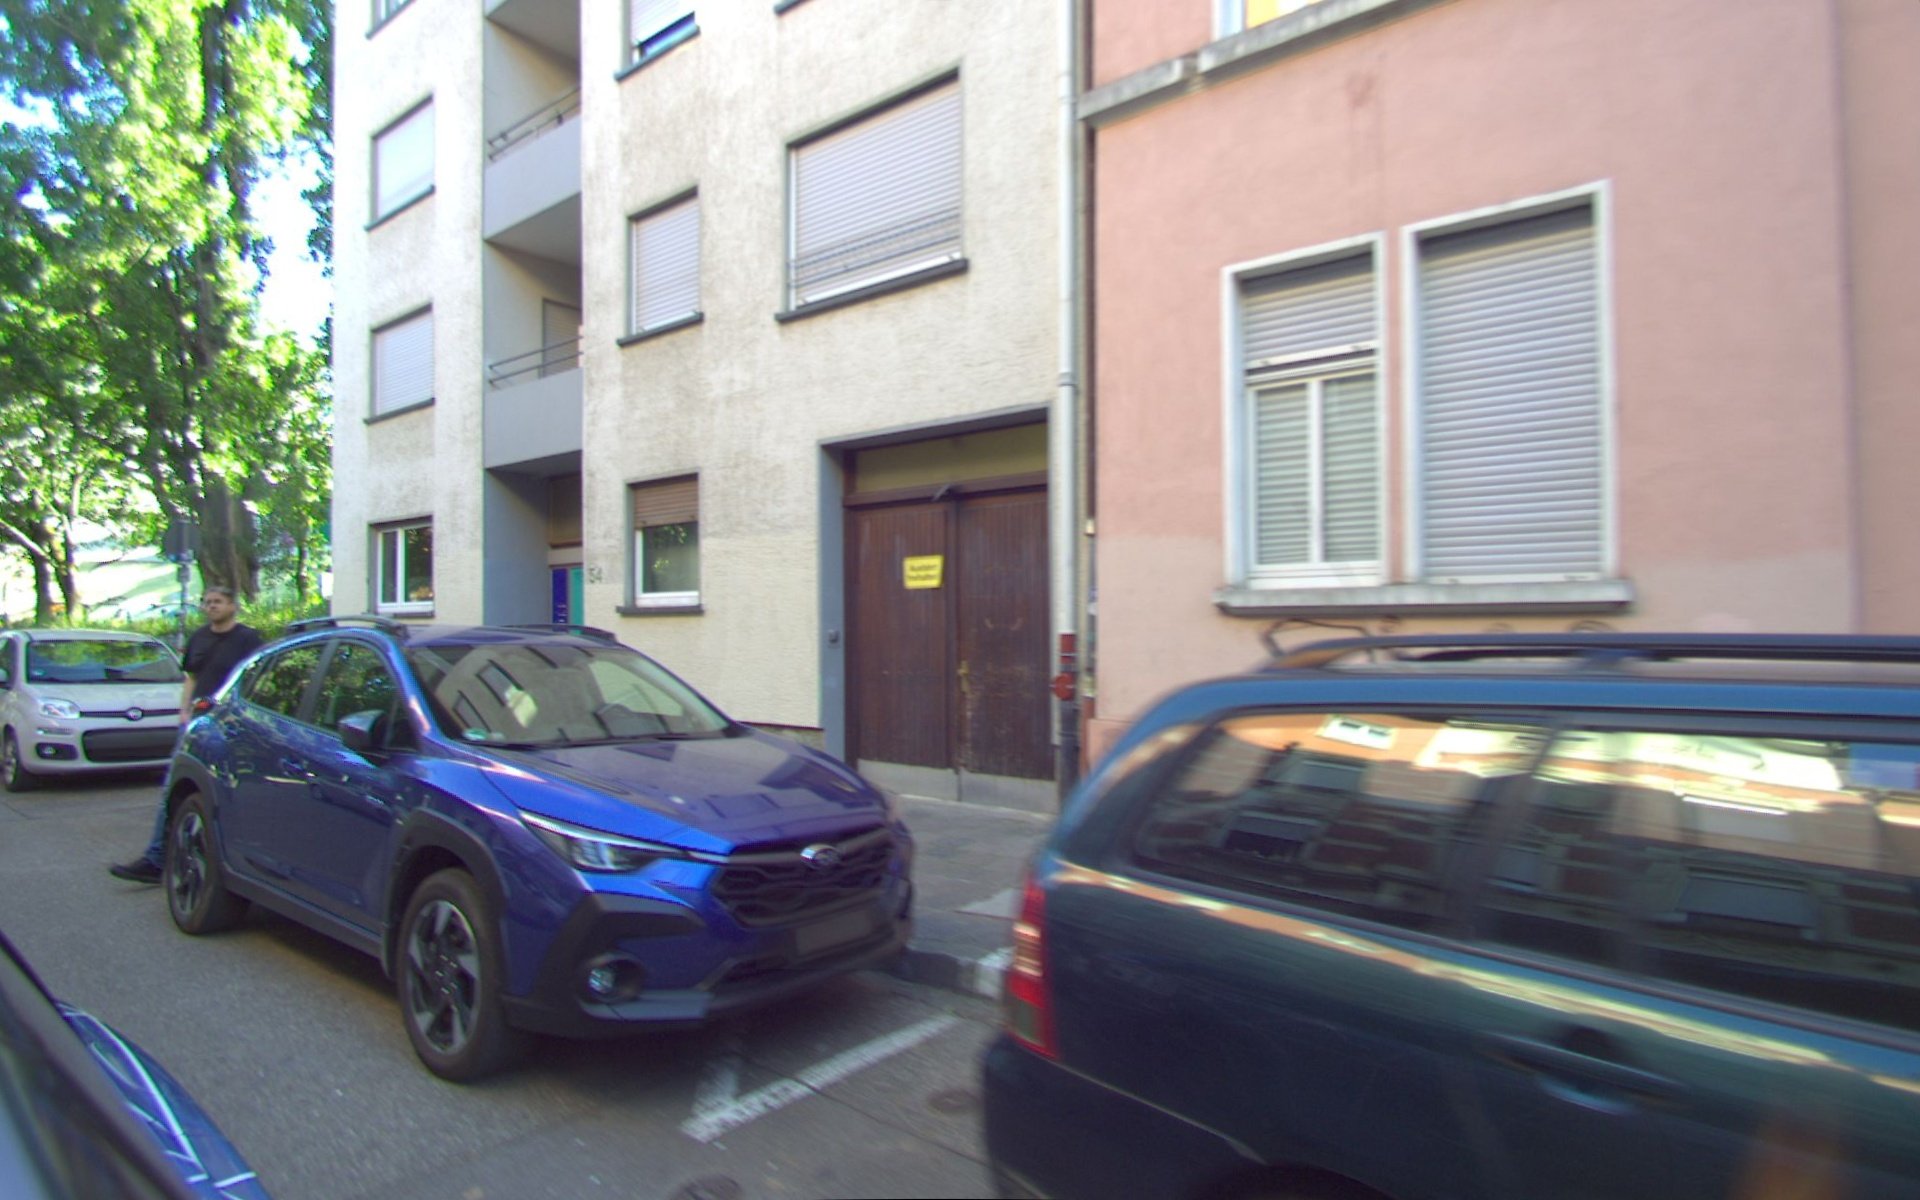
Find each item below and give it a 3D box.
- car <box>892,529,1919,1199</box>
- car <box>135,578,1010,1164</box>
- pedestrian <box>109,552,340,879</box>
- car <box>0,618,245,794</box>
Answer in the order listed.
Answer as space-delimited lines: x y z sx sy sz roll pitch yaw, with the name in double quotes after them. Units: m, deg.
2.087 0.689 1.366 4.409 1.523 1.658 -1 -2 39 "car"
-2.055 0.783 4.710 4.370 1.551 1.713 -1 -3 37 "car"
-4.532 0.672 6.297 0.667 1.854 0.905 0 -2 16 "pedestrian"
-9.338 0.996 10.796 3.862 1.551 1.659 -1 -3 37 "car"
